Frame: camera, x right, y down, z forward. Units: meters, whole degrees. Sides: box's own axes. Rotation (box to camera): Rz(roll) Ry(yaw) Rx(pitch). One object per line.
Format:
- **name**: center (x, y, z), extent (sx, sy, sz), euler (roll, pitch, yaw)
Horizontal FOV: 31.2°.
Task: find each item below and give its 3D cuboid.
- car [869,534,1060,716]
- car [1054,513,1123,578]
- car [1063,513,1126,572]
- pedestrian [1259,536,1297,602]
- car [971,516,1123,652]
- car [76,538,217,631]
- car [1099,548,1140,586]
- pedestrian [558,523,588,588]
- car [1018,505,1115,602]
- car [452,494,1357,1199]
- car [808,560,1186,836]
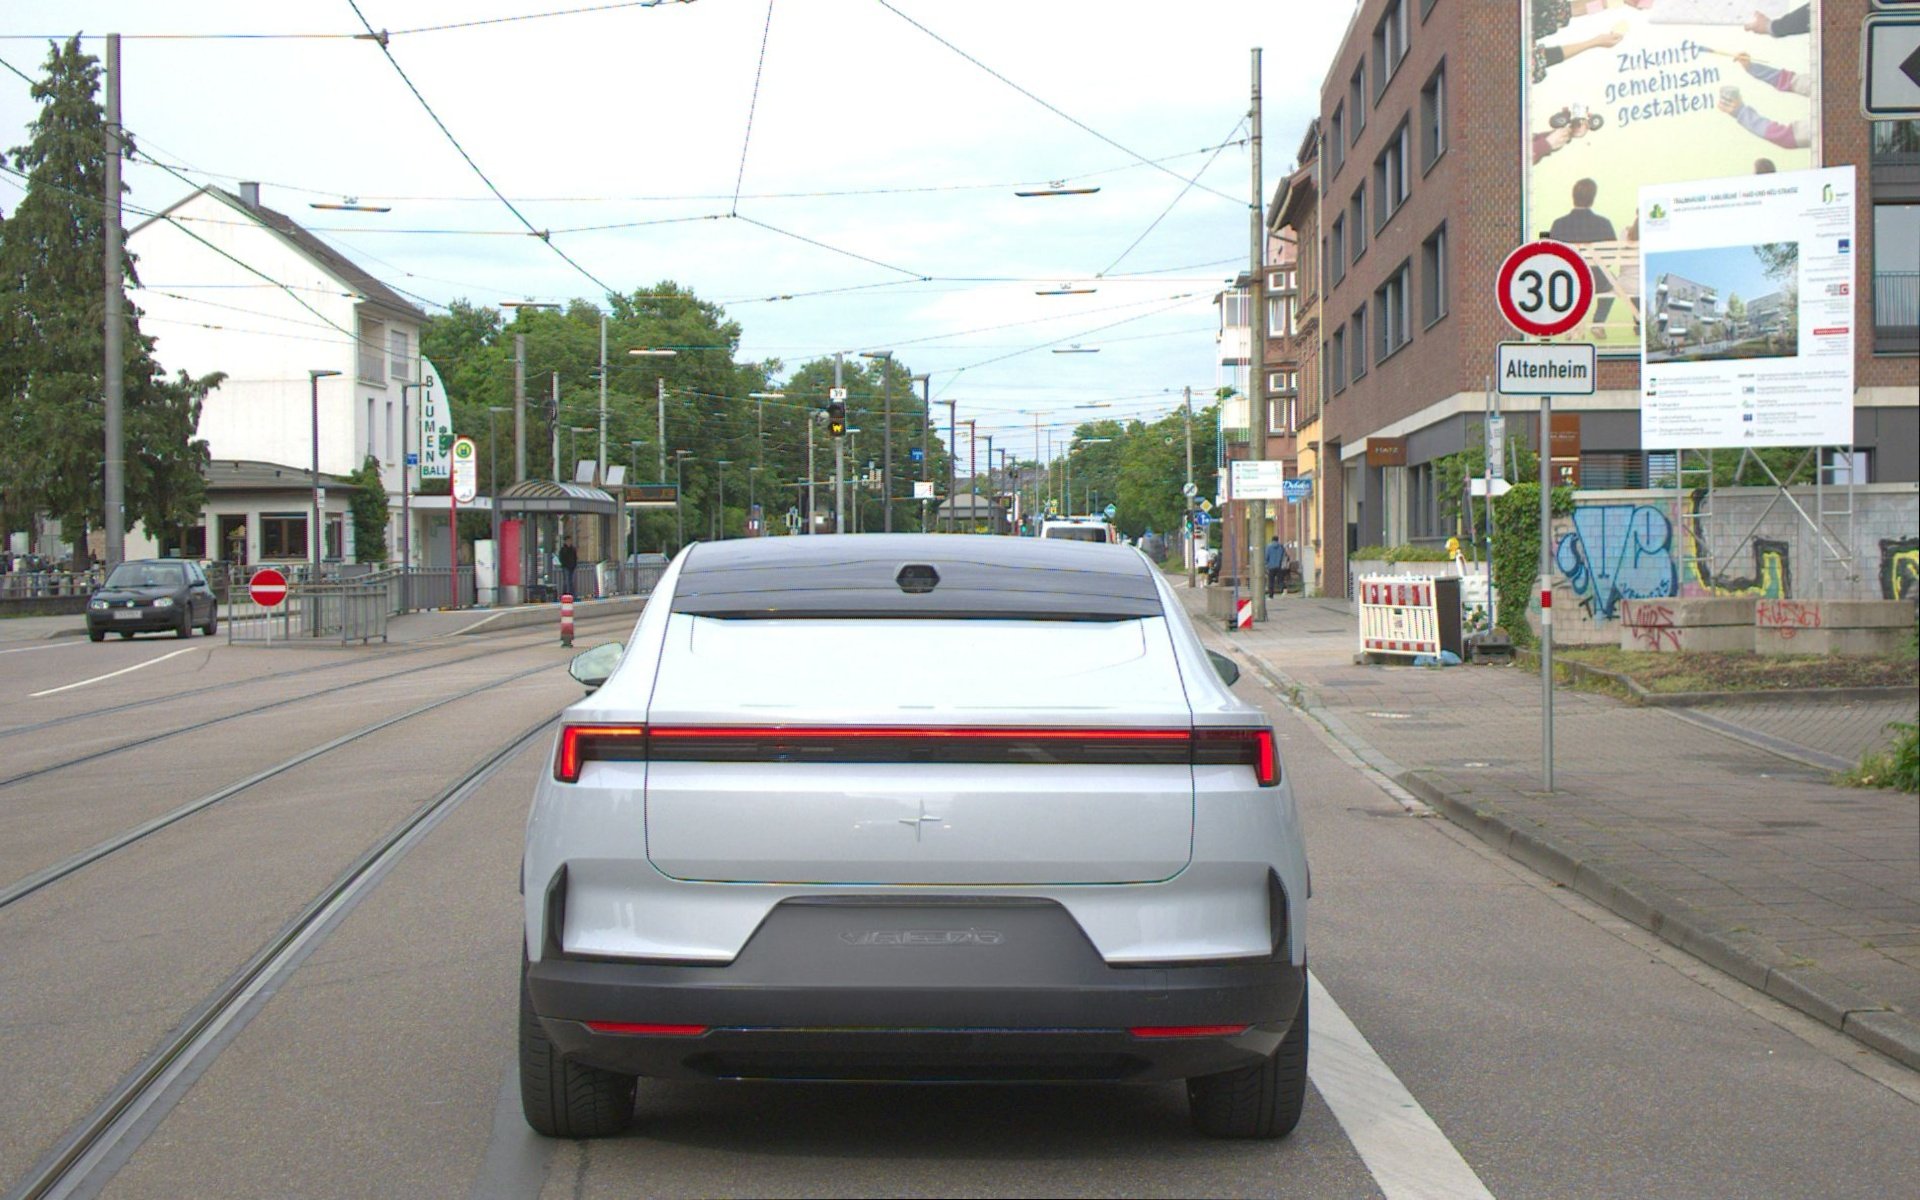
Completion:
- **car**: center (0.094, 0.213, 33.958), extent (1.681, 1.682, 3.823), euler (1, 1, 3)
- **car**: center (4.110, -1.741, 110.418), extent (1.993, 2.007, 4.000), euler (1, 1, -1)
- **car**: center (4.695, -1.986, 120.294), extent (1.993, 2.007, 4.000), euler (1, 1, -1)
- **pedestrian**: center (9.171, -0.894, 99.001), extent (0.961, 1.843, 0.975), euler (-2, 1, 9)
- **car**: center (1.189, -0.254, 48.757), extent (1.993, 1.809, 4.000), euler (-1, 1, -1)
- **car**: center (-14.371, -0.281, 60.908), extent (1.790, 1.525, 4.142), euler (-2, 1, -5)
- **car**: center (8.586, -1.791, 185.281), extent (1.993, 2.007, 4.000), euler (1, 1, -1)
- **pedestrian**: center (-9.881, -1.134, 87.740), extent (0.615, 1.659, 0.697), euler (1, 0, 6)
- **car**: center (2.697, -1.184, 88.057), extent (2.226, 2.394, 5.123), euler (1, 1, -1)
- **car**: center (-0.181, 0.550, 9.662), extent (1.999, 1.575, 4.000), euler (1, 0, -2)
- **car**: center (0.245, 0.498, 20.304), extent (1.993, 1.415, 4.000), euler (-1, 1, 1)
